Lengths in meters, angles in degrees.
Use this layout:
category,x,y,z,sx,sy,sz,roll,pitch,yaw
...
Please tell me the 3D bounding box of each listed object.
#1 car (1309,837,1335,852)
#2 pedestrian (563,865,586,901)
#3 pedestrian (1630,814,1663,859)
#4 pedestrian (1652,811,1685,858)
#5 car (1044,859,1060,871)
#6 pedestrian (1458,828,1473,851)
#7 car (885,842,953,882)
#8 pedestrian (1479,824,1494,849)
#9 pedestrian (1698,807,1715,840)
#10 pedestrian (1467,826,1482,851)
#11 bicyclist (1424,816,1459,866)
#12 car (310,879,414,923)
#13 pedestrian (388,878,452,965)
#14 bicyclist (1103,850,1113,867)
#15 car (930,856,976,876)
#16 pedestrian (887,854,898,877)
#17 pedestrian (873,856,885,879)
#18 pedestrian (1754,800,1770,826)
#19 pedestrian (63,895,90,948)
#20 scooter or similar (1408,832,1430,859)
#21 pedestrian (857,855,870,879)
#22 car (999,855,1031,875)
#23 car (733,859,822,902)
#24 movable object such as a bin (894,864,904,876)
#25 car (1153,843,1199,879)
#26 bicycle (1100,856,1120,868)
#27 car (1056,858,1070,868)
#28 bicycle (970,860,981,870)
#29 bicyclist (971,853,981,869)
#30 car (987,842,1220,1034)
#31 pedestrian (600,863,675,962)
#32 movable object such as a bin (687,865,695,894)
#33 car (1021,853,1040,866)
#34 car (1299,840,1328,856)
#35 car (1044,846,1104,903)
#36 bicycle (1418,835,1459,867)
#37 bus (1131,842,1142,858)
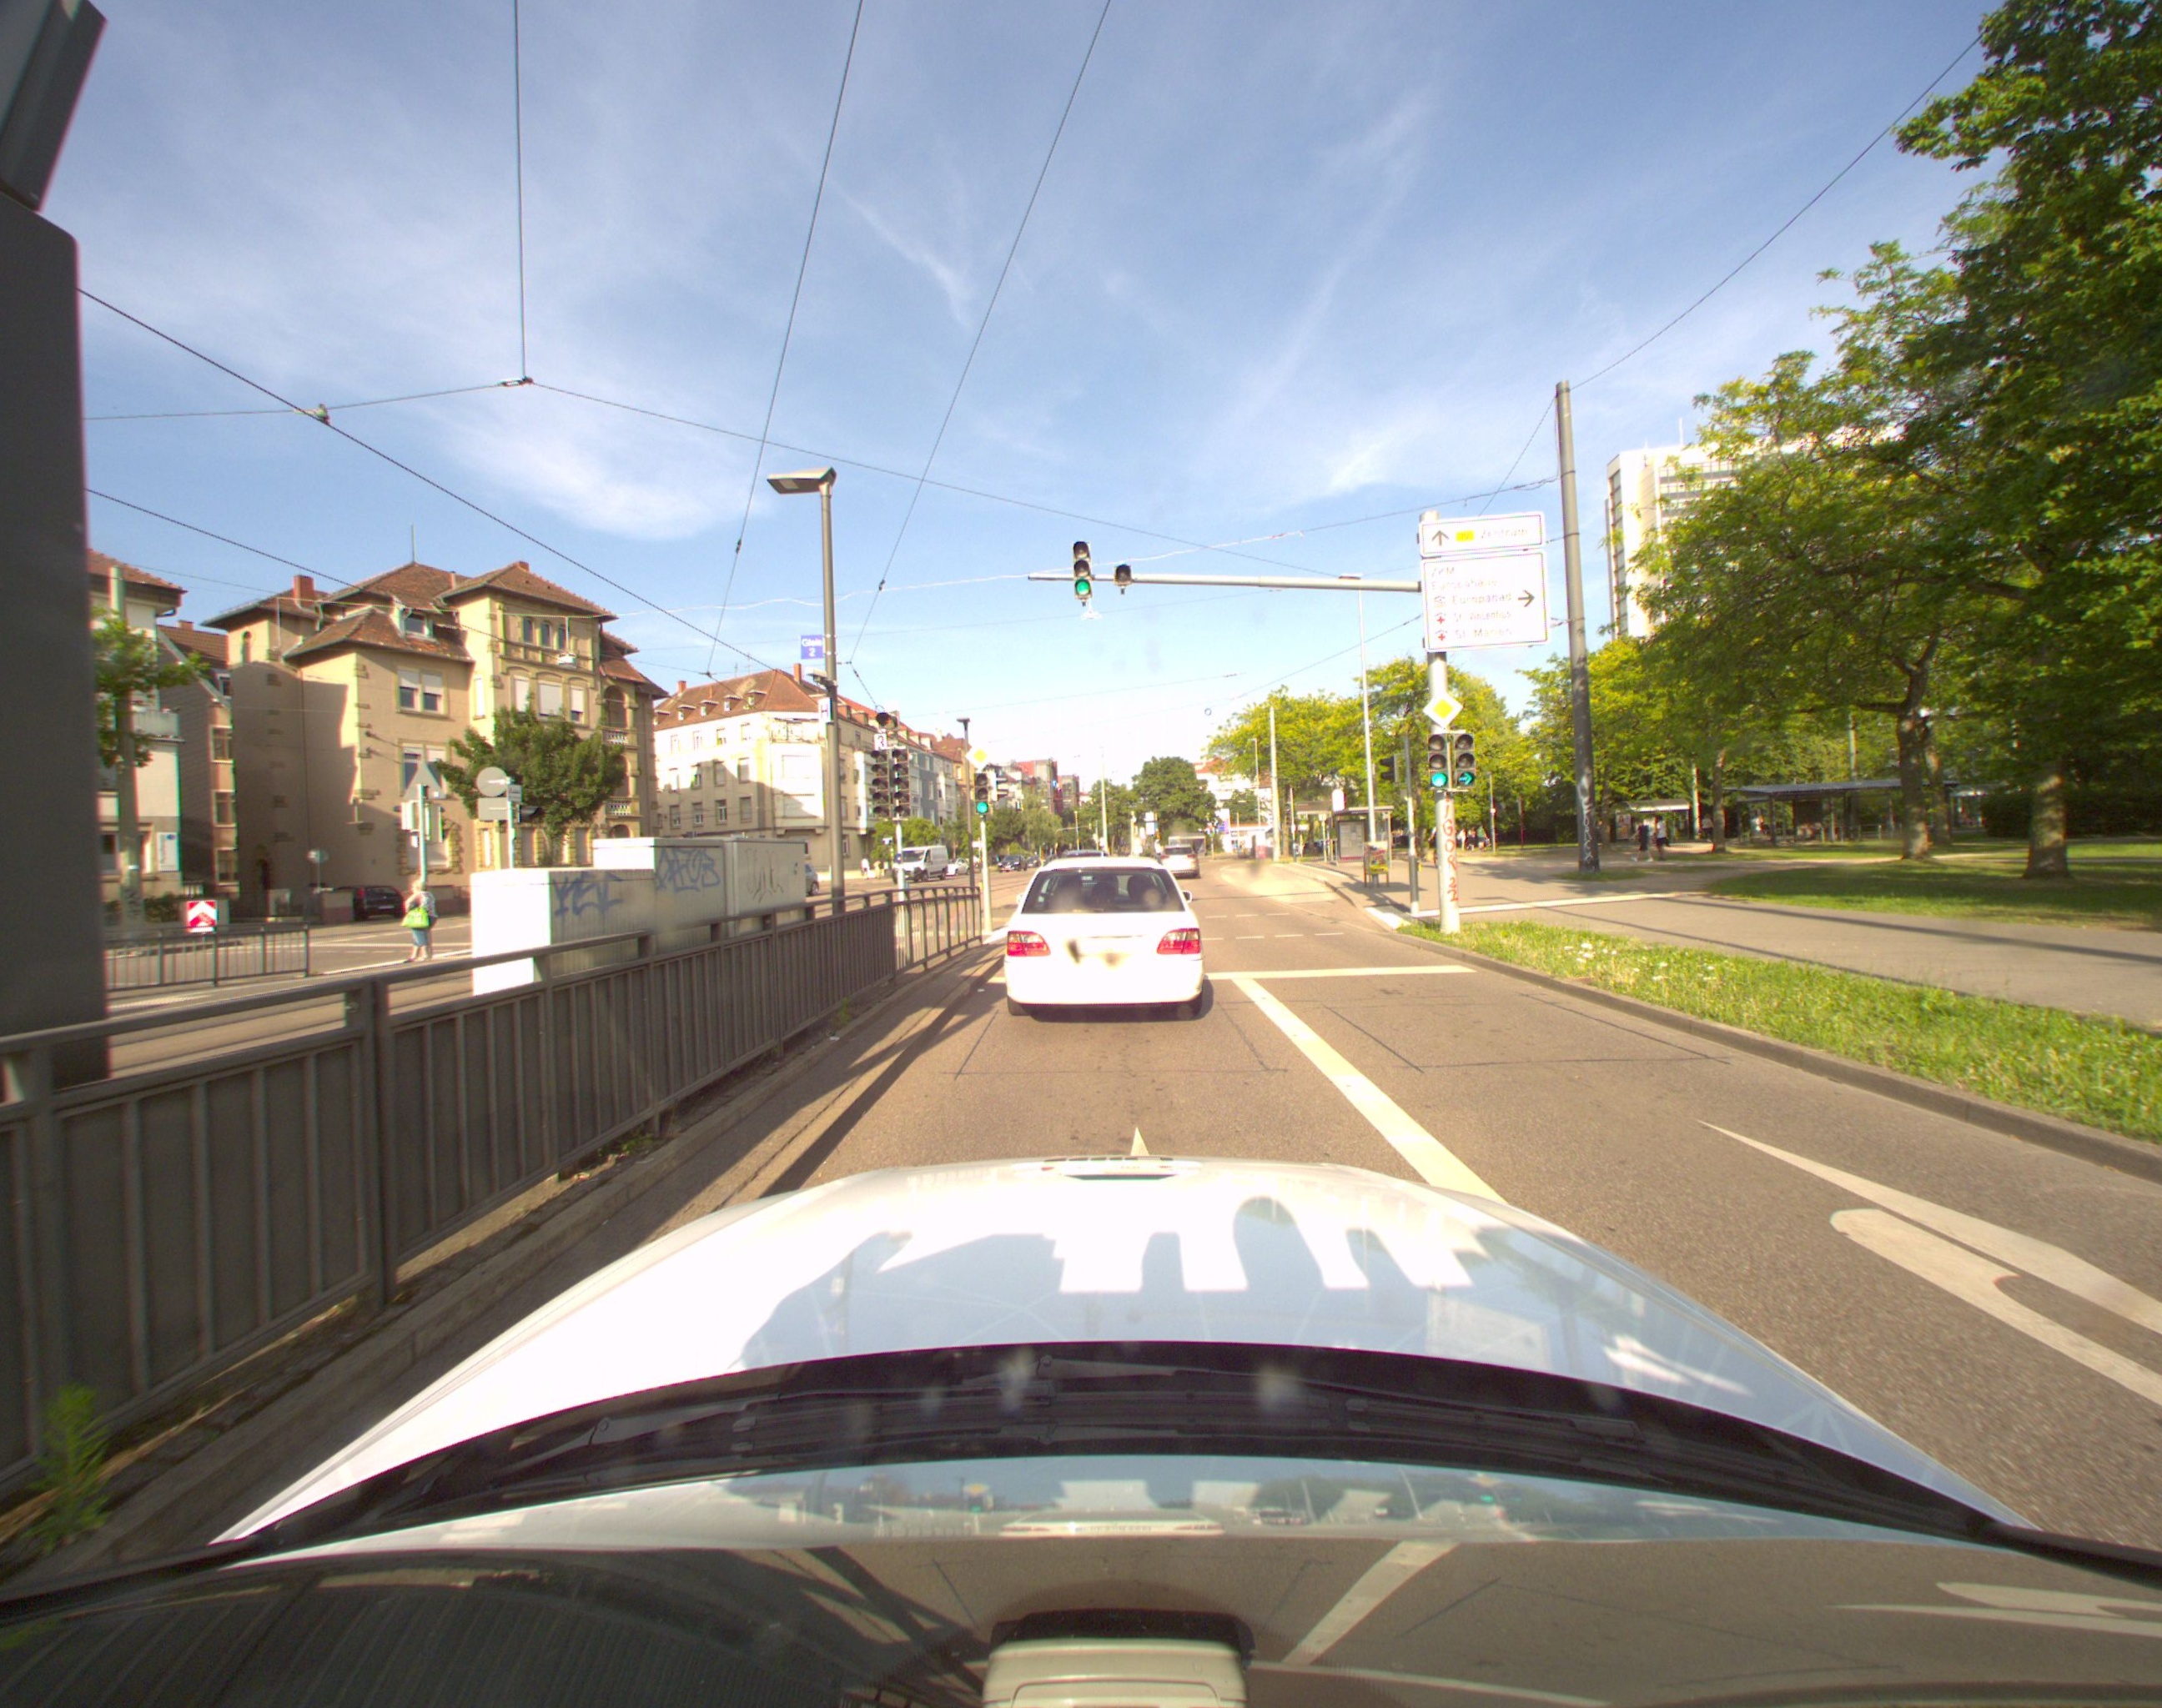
category,x,y,z,sx,sy,sz,roll,pitch,yaw
car,27.245,-1.116,91.947,1.836,1.515,4.025,-4,-1,30
pedestrian,-23.729,1.362,38.175,0.672,1.651,0.608,-3,0,28
pedestrian,23.040,-0.710,33.202,0.673,1.777,0.875,0,0,-18
pedestrian,23.951,-0.789,33.203,0.674,1.897,0.872,0,0,-26
car,-3.964,1.462,112.071,1.681,1.441,4.007,-3,0,6
pedestrian,26.858,-1.016,56.902,0.638,1.610,0.691,-3,0,1
car,-10.047,0.445,51.119,2.162,2.239,5.271,-3,0,12
pedestrian,27.493,-1.156,55.234,0.638,1.665,0.691,-3,0,1
pedestrian,36.051,-1.760,46.937,0.463,1.868,0.600,0,-1,-28
pedestrian,27.106,-1.064,56.080,0.638,1.665,0.691,-3,0,1
bicyclist,13.415,-0.472,30.318,0.647,1.745,1.140,-6,-1,1
car,-29.696,1.945,33.645,3.950,1.632,1.787,-3,0,26
pedestrian,-12.670,1.276,15.630,0.588,1.589,0.715,-3,0,-2
bicyclist,2.791,0.472,82.977,0.895,1.699,0.733,-4,0,2
car,-10.417,0.973,66.451,1.778,1.457,4.022,-3,0,23
pedestrian,-15.634,0.945,67.586,0.581,1.881,0.627,-3,0,5
pedestrian,-16.056,1.071,64.854,0.671,1.848,0.650,-3,0,4
pedestrian,47.549,-2.874,56.863,0.666,1.800,0.613,-1,0,15
pedestrian,-29.823,2.005,24.182,0.400,1.516,0.392,-3,0,28
scooter or similar,15.901,-0.377,38.312,0.351,1.232,1.131,-3,0,-12
pedestrian,-17.365,1.066,65.067,0.653,1.881,0.629,-3,0,16
car,-5.810,0.957,72.047,1.757,1.494,4.755,-3,1,7
car,-12.993,1.103,35.138,1.666,1.526,4.137,-3,1,10
movable object such as a bin,-15.309,1.361,68.617,0.579,0.947,0.665,-3,0,11
car,4.440,0.297,38.690,1.828,1.600,3.817,-1,0,2
bicycle,2.956,0.820,82.977,1.907,0.994,0.727,-5,0,1
car,-2.769,1.305,124.580,1.680,1.420,4.006,-3,0,5
bicycle,-11.162,1.134,86.172,0.765,0.965,2.036,-3,0,3
bicyclist,-11.137,0.745,86.589,0.757,1.668,1.168,-3,0,3
car,0.258,0.667,8.383,1.828,1.501,3.817,-1,0,2
pedestrian,-7.891,1.030,14.506,0.876,1.670,0.672,-3,0,4
movable object such as a bin,-23.852,1.571,49.780,0.265,1.709,2.360,-3,0,-29
car,-6.040,0.622,97.654,1.626,1.433,3.634,-3,0,6
car,24.762,-0.626,86.617,1.835,1.515,4.026,-4,-1,32
car,-0.150,0.582,24.960,1.635,1.600,3.817,-1,0,2
bicycle,13.459,-0.104,30.677,0.638,1.088,1.940,-5,0,1
bus,9.392,-0.628,138.662,1.790,2.555,4.004,0,-1,4
